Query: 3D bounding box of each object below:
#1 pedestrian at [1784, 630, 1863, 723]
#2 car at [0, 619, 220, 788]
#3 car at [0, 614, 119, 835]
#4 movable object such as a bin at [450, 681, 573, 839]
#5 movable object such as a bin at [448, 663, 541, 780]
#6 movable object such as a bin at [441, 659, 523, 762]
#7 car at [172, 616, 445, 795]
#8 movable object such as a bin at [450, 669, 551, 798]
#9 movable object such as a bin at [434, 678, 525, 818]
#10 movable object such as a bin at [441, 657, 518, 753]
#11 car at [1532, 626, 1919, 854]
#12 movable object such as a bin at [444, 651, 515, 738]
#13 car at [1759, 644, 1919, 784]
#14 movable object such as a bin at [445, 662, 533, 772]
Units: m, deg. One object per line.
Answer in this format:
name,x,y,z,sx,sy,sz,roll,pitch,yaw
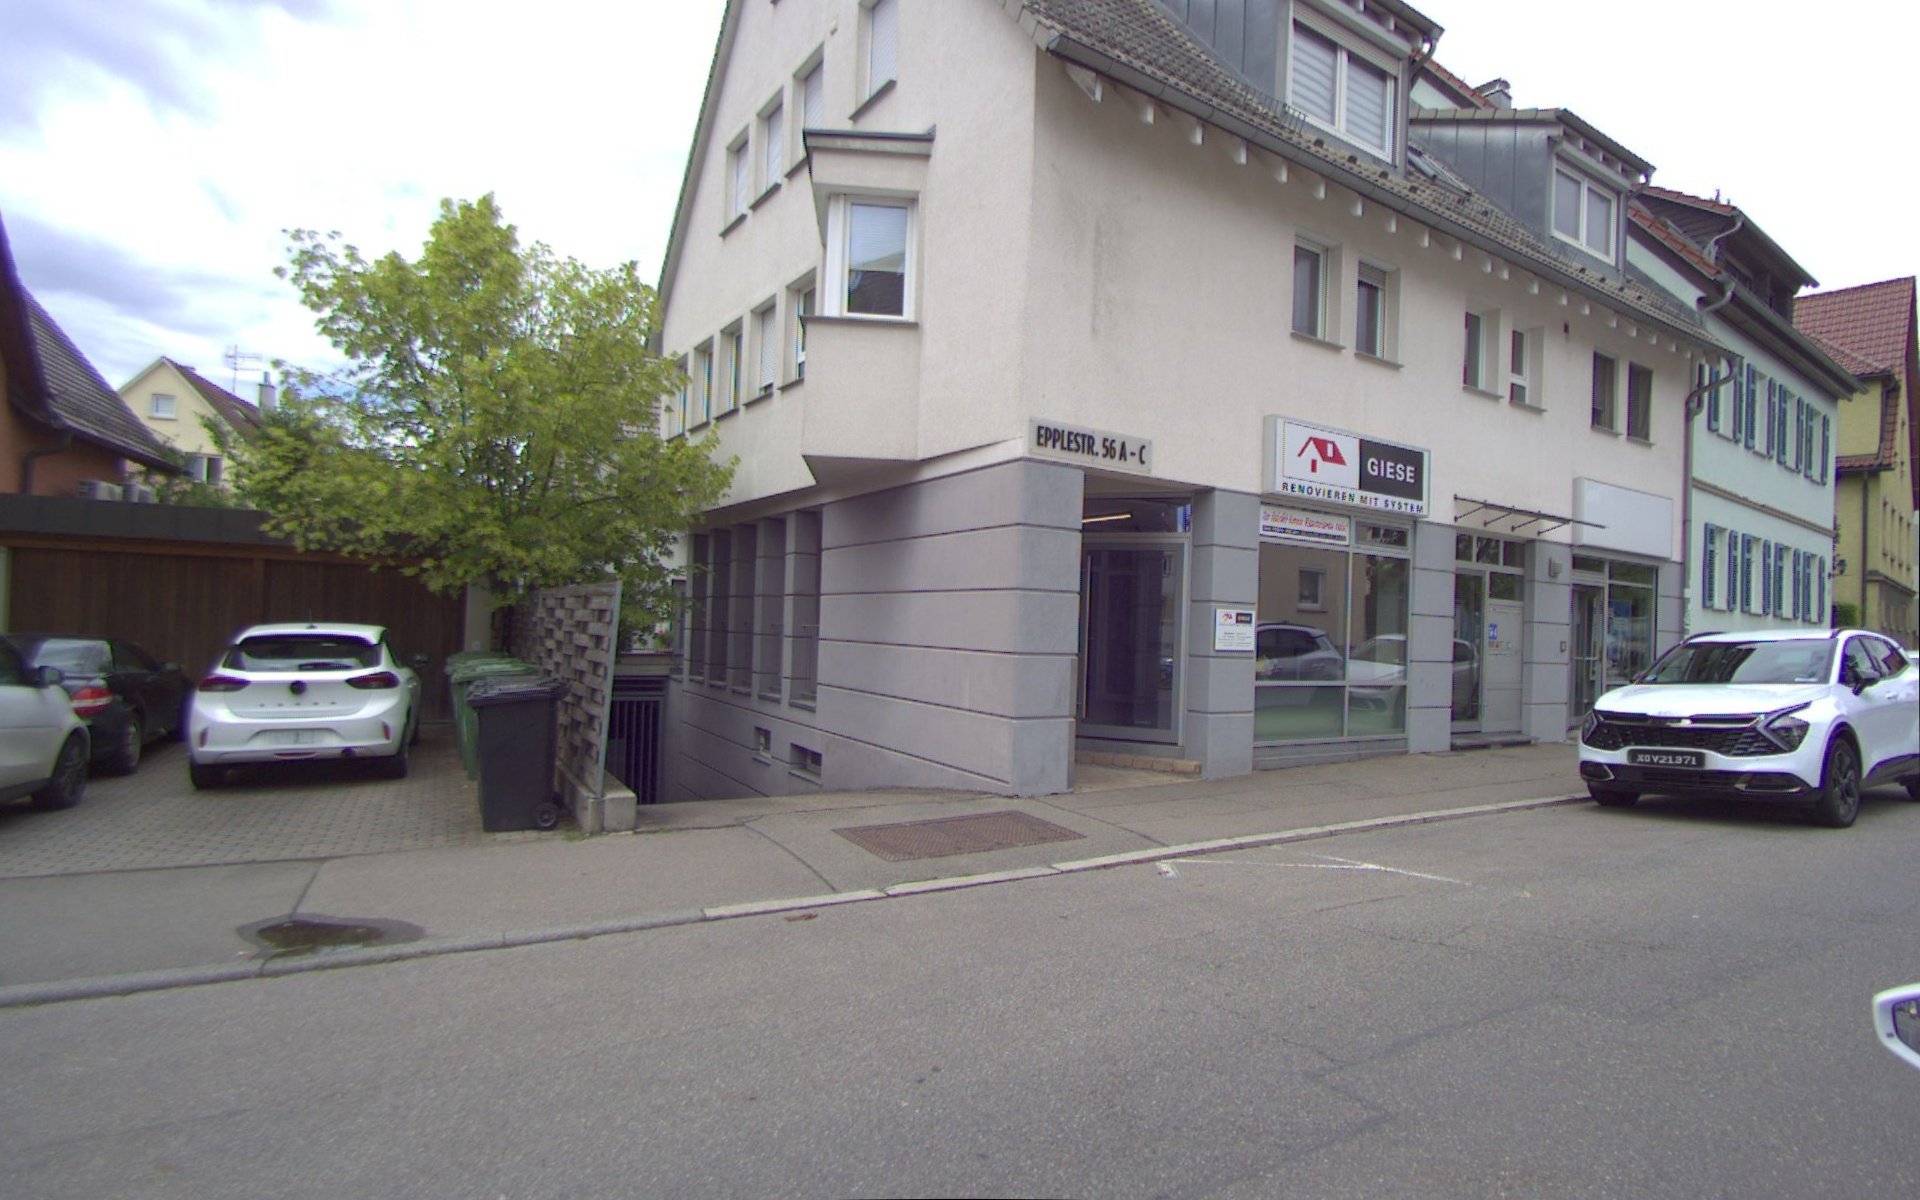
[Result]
pedestrian,15.046,1.319,17.507,0.966,1.520,0.800,2,0,-36
car,-8.982,0.923,10.187,1.685,1.366,3.579,2,-1,-26
car,-7.498,0.841,6.968,1.717,1.494,2.824,2,-1,-22
movable object such as a bin,-3.337,1.148,7.458,0.786,1.031,0.663,0,-1,-29
movable object such as a bin,-4.515,1.153,9.732,0.786,1.031,0.663,0,-1,-29
movable object such as a bin,-5.226,1.185,10.976,0.786,1.031,0.663,0,-1,-29
car,-6.577,0.934,10.598,1.718,1.494,3.977,2,-1,-23
movable object such as a bin,-4.096,1.159,8.944,0.786,1.031,0.663,0,-1,-29
movable object such as a bin,-3.798,1.148,7.958,0.626,0.984,0.532,0,2,-25
movable object such as a bin,-5.612,1.205,11.728,0.786,1.031,0.663,0,-1,-29
car,7.807,1.128,9.718,4.806,1.655,1.986,2,0,-33
movable object such as a bin,-6.086,1.174,12.715,0.786,1.031,0.663,0,-1,-29
car,11.809,1.320,12.452,3.880,1.455,1.984,2,0,-36
movable object such as a bin,-4.848,1.176,10.336,0.786,1.031,0.663,0,-1,-29
